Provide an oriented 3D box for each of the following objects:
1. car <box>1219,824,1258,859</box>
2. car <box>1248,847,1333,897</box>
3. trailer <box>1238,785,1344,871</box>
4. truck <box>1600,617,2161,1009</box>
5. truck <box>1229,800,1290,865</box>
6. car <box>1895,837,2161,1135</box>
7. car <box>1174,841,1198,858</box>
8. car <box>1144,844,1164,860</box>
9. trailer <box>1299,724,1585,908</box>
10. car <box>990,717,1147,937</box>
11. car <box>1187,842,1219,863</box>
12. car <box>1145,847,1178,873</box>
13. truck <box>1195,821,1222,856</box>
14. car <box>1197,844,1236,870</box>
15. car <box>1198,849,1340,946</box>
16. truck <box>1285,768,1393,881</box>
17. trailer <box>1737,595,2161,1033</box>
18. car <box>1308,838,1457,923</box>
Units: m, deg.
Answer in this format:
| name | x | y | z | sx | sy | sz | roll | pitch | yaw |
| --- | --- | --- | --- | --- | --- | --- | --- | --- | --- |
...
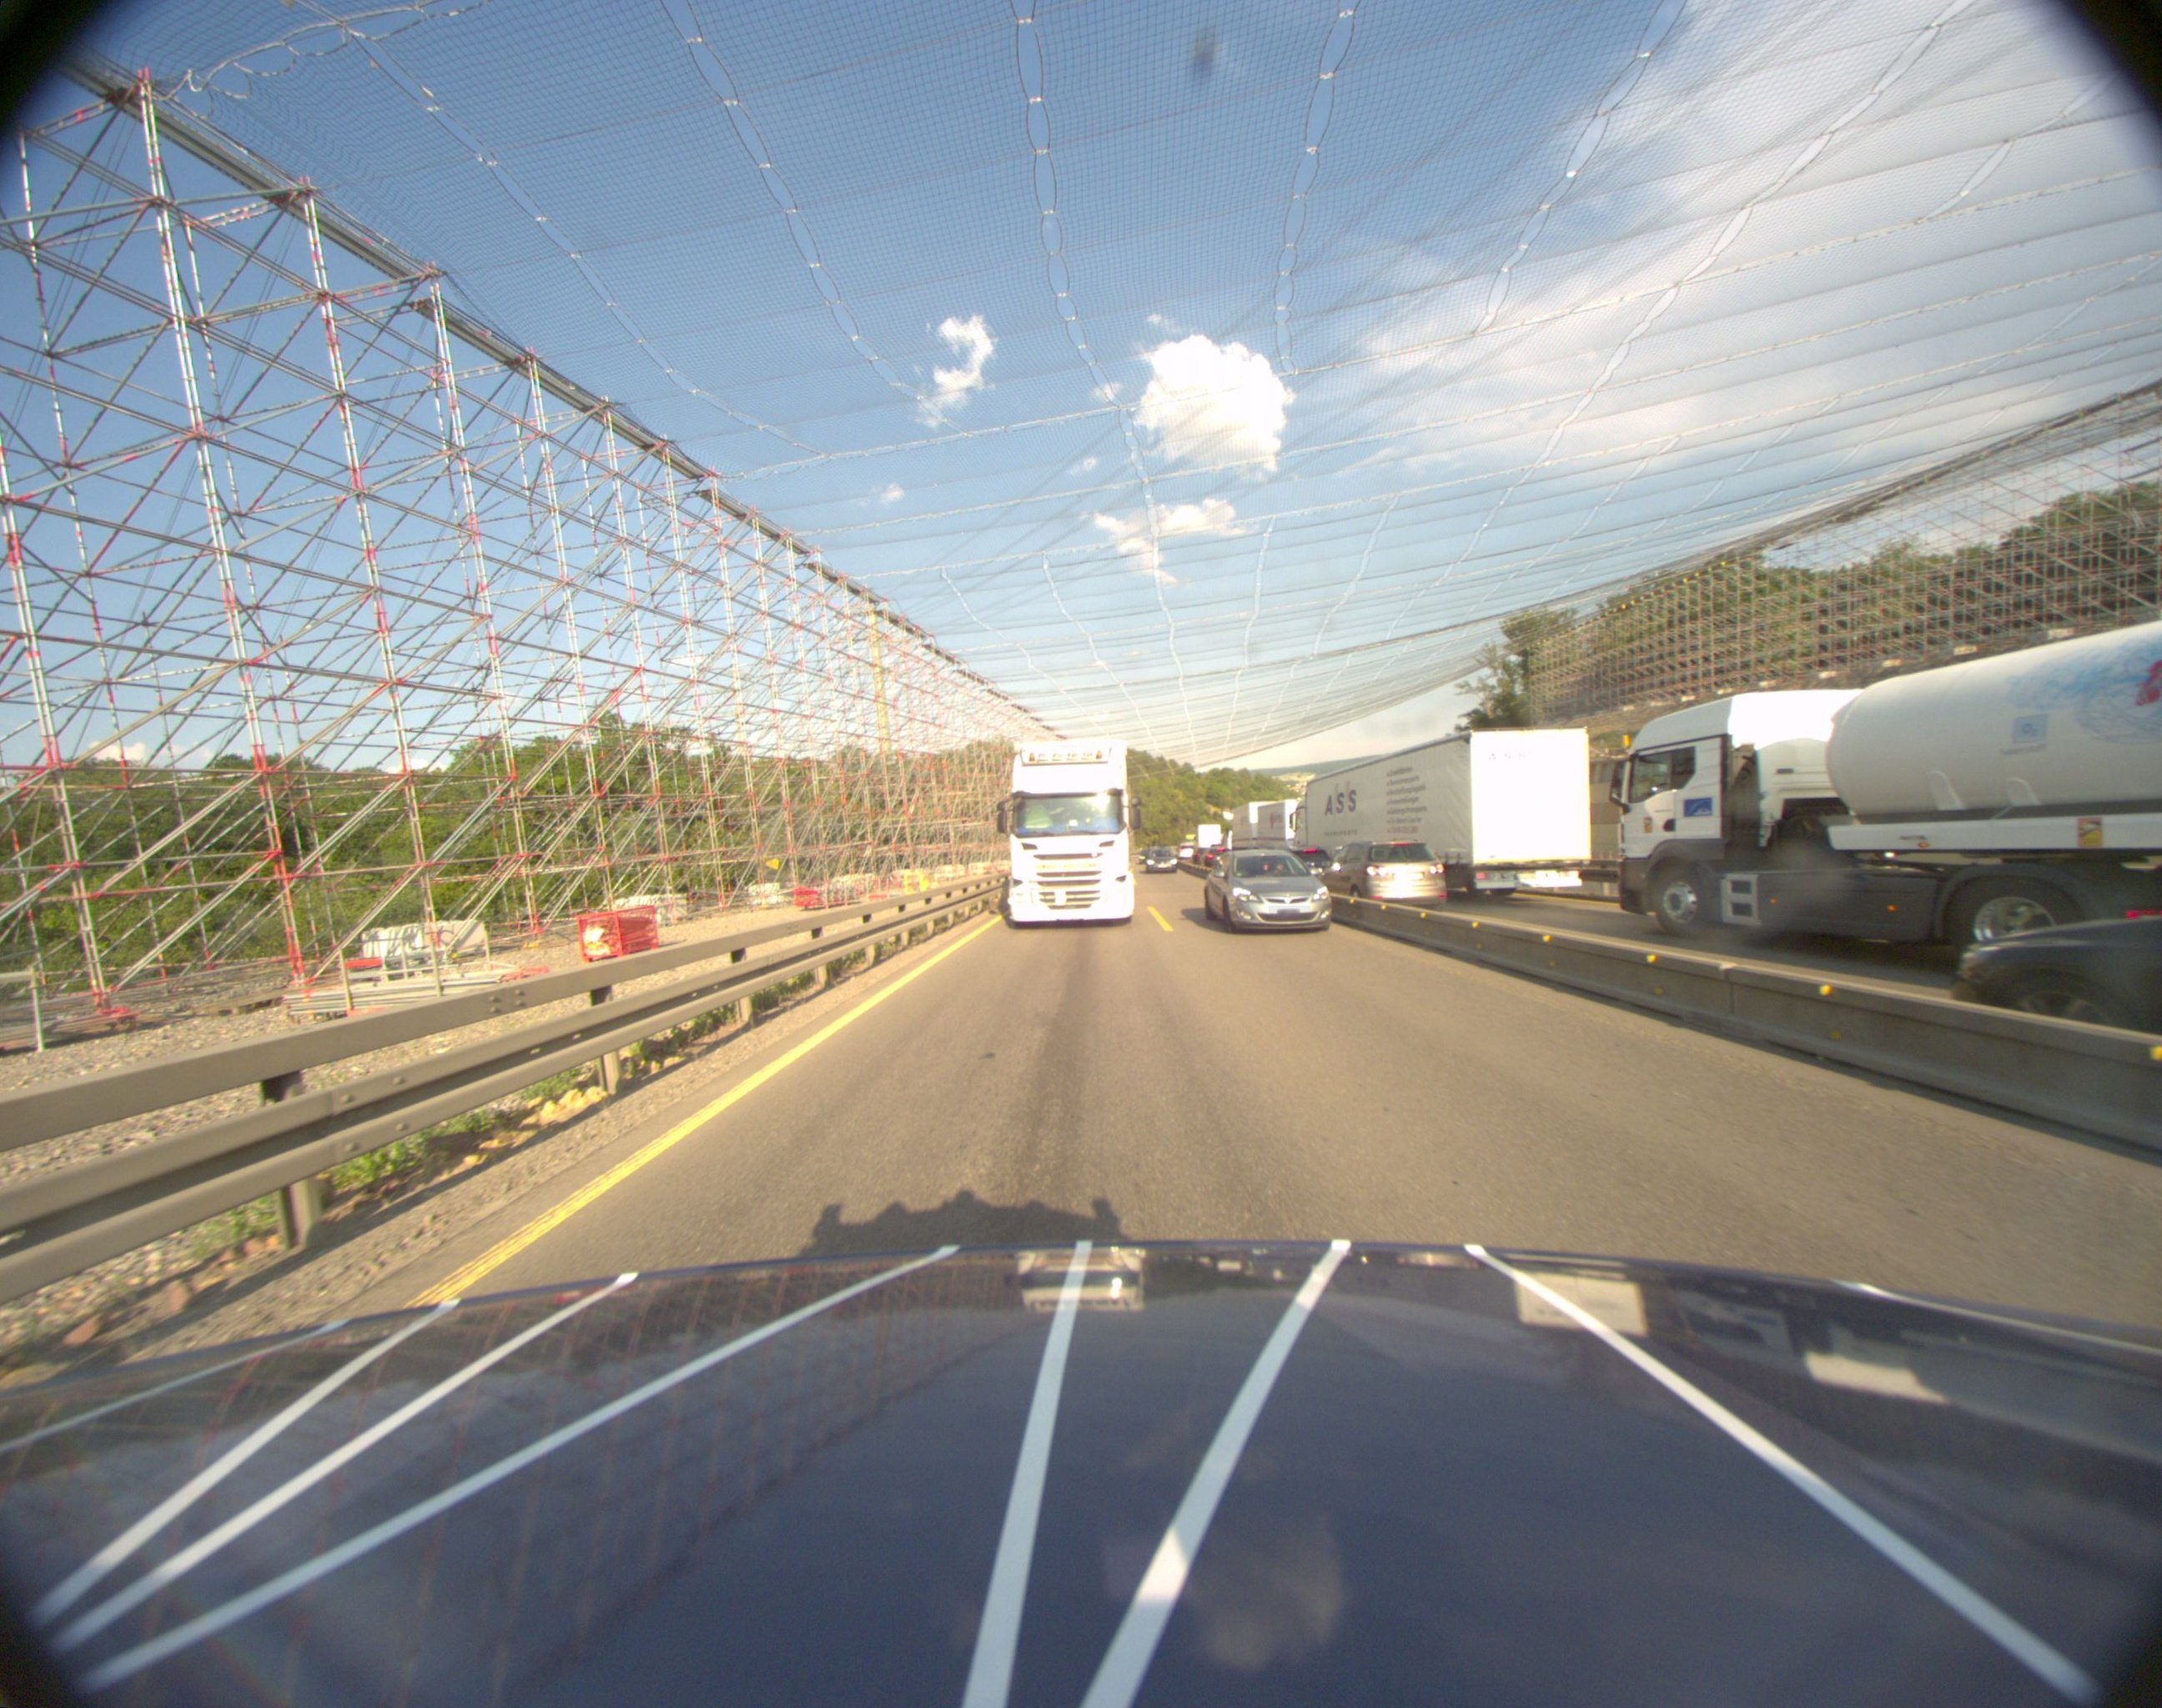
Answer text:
| name | x | y | z | sx | sy | sz | roll | pitch | yaw |
| --- | --- | --- | --- | --- | --- | --- | --- | --- | --- |
| car | 13.075 | -1.050 | 63.528 | 2.246 | 2.697 | 7.083 | -2 | 1 | 5 |
| car | 6.763 | 0.529 | 24.949 | 1.798 | 1.390 | 4.244 | -2 | 1 | 3 |
| trailer | 11.358 | -1.361 | 42.792 | 2.676 | 3.993 | 13.333 | -2 | 1 | 2 |
| truck | 9.500 | -0.411 | 9.366 | 2.419 | 3.351 | 5.617 | -2 | 1 | 1 |
| truck | 11.647 | -1.401 | 50.271 | 2.637 | 3.888 | 7.205 | -2 | 1 | 4 |
| car | 6.112 | 0.663 | 2.744 | 1.631 | 1.418 | 4.387 | -2 | 1 | 0 |
| car | 10.190 | -0.461 | 73.973 | 1.812 | 1.559 | 4.366 | -2 | 1 | 3 |
| car | 6.615 | -0.192 | 69.154 | 1.675 | 1.376 | 3.823 | -2 | 1 | 5 |
| trailer | 9.952 | -0.943 | 23.711 | 2.433 | 3.940 | 14.097 | -2 | 1 | 1 |
| car | -0.243 | -0.573 | 18.658 | 2.858 | 4.092 | 8.278 | -2 | 1 | 0 |
| car | 8.987 | -0.153 | 56.255 | 1.782 | 1.442 | 4.663 | -2 | 1 | 2 |
| car | 4.665 | 0.318 | 44.437 | 1.764 | 1.376 | 3.823 | -2 | 1 | 5 |
| truck | 16.817 | -2.078 | 100.857 | 2.727 | 4.203 | 14.173 | -2 | 1 | 7 |
| car | 7.805 | 0.132 | 44.124 | 1.611 | 1.368 | 3.900 | -2 | 1 | 2 |
| car | 3.379 | 0.692 | 14.472 | 1.760 | 1.464 | 4.353 | -2 | 1 | 2 |
| truck | 10.159 | -1.110 | 30.516 | 2.479 | 4.023 | 5.617 | -2 | 1 | 2 |
| trailer | 9.366 | -0.300 | 3.590 | 2.312 | 3.342 | 12.051 | -2 | 1 | 1 |
| car | 6.405 | 0.479 | 16.625 | 1.755 | 1.578 | 3.942 | -2 | 1 | 2 |
